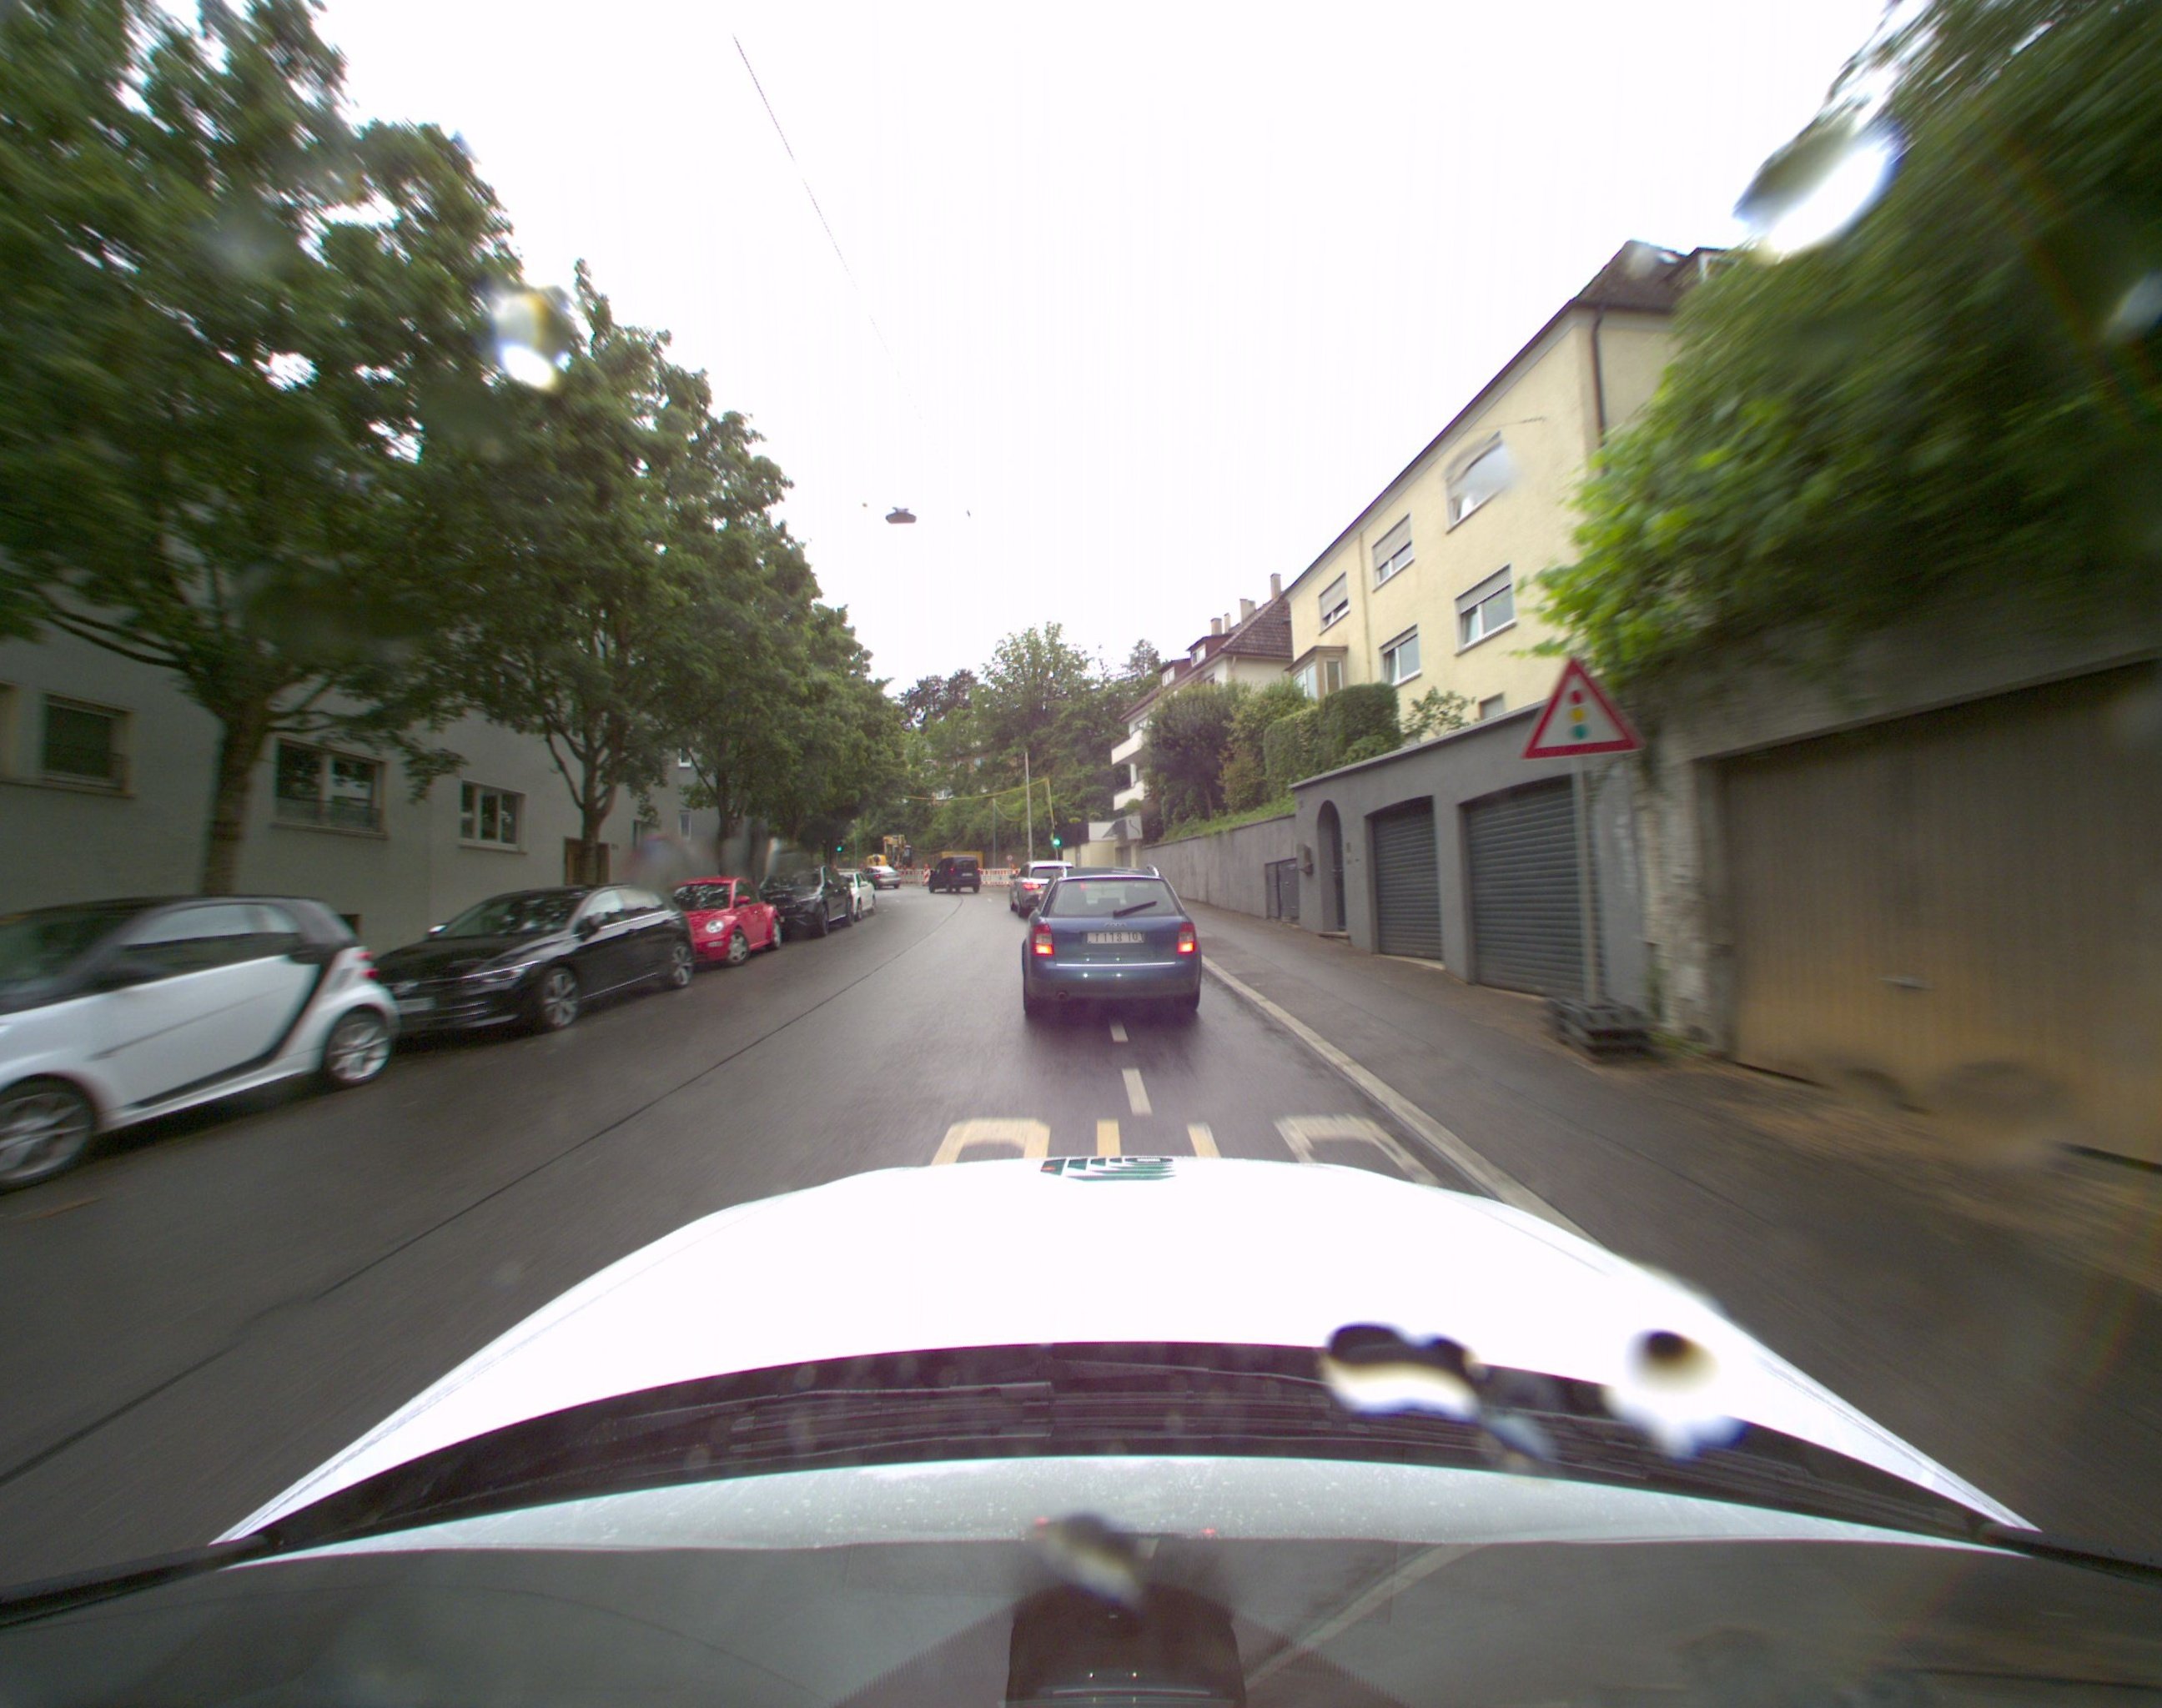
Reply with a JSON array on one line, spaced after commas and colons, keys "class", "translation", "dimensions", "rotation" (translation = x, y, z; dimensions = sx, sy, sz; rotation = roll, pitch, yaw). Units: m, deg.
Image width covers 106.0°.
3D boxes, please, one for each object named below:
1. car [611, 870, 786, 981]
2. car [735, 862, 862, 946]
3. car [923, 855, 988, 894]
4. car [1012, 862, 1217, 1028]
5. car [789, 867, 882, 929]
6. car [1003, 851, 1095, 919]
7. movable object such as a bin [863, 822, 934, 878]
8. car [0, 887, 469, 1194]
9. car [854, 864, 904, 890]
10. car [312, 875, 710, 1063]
[{"class": "car", "translation": [-6.485, 1.137, 14.253], "dimensions": [1.632, 1.565, 3.837], "rotation": [-4, -1, -8]}, {"class": "car", "translation": [-6.625, 1.080, 19.614], "dimensions": [1.679, 1.608, 4.568], "rotation": [-5, 0, -5]}, {"class": "car", "translation": [-6.418, 1.032, 41.330], "dimensions": [2.005, 1.794, 3.963], "rotation": [-3, 0, -28]}, {"class": "car", "translation": [0.412, 0.818, 9.118], "dimensions": [1.778, 1.442, 3.967], "rotation": [-1, -1, 3]}, {"class": "car", "translation": [-7.263, 1.241, 24.521], "dimensions": [1.679, 1.508, 4.308], "rotation": [-5, 0, -5]}, {"class": "car", "translation": [-1.004, 0.783, 22.546], "dimensions": [1.927, 1.618, 4.305], "rotation": [-2, 0, -10]}, {"class": "movable object such as a bin", "translation": [-14.026, -0.235, 62.233], "dimensions": [2.840, 4.014, 7.250], "rotation": [-1, 0, -33]}, {"class": "car", "translation": [-6.355, 1.094, 5.599], "dimensions": [1.550, 1.510, 3.384], "rotation": [-6, -1, 1]}, {"class": "car", "translation": [-12.768, 1.444, 51.300], "dimensions": [1.733, 1.486, 4.033], "rotation": [-3, 0, -34]}, {"class": "car", "translation": [-6.011, 1.078, 9.303], "dimensions": [1.550, 1.488, 4.096], "rotation": [-6, -1, 0]}]
